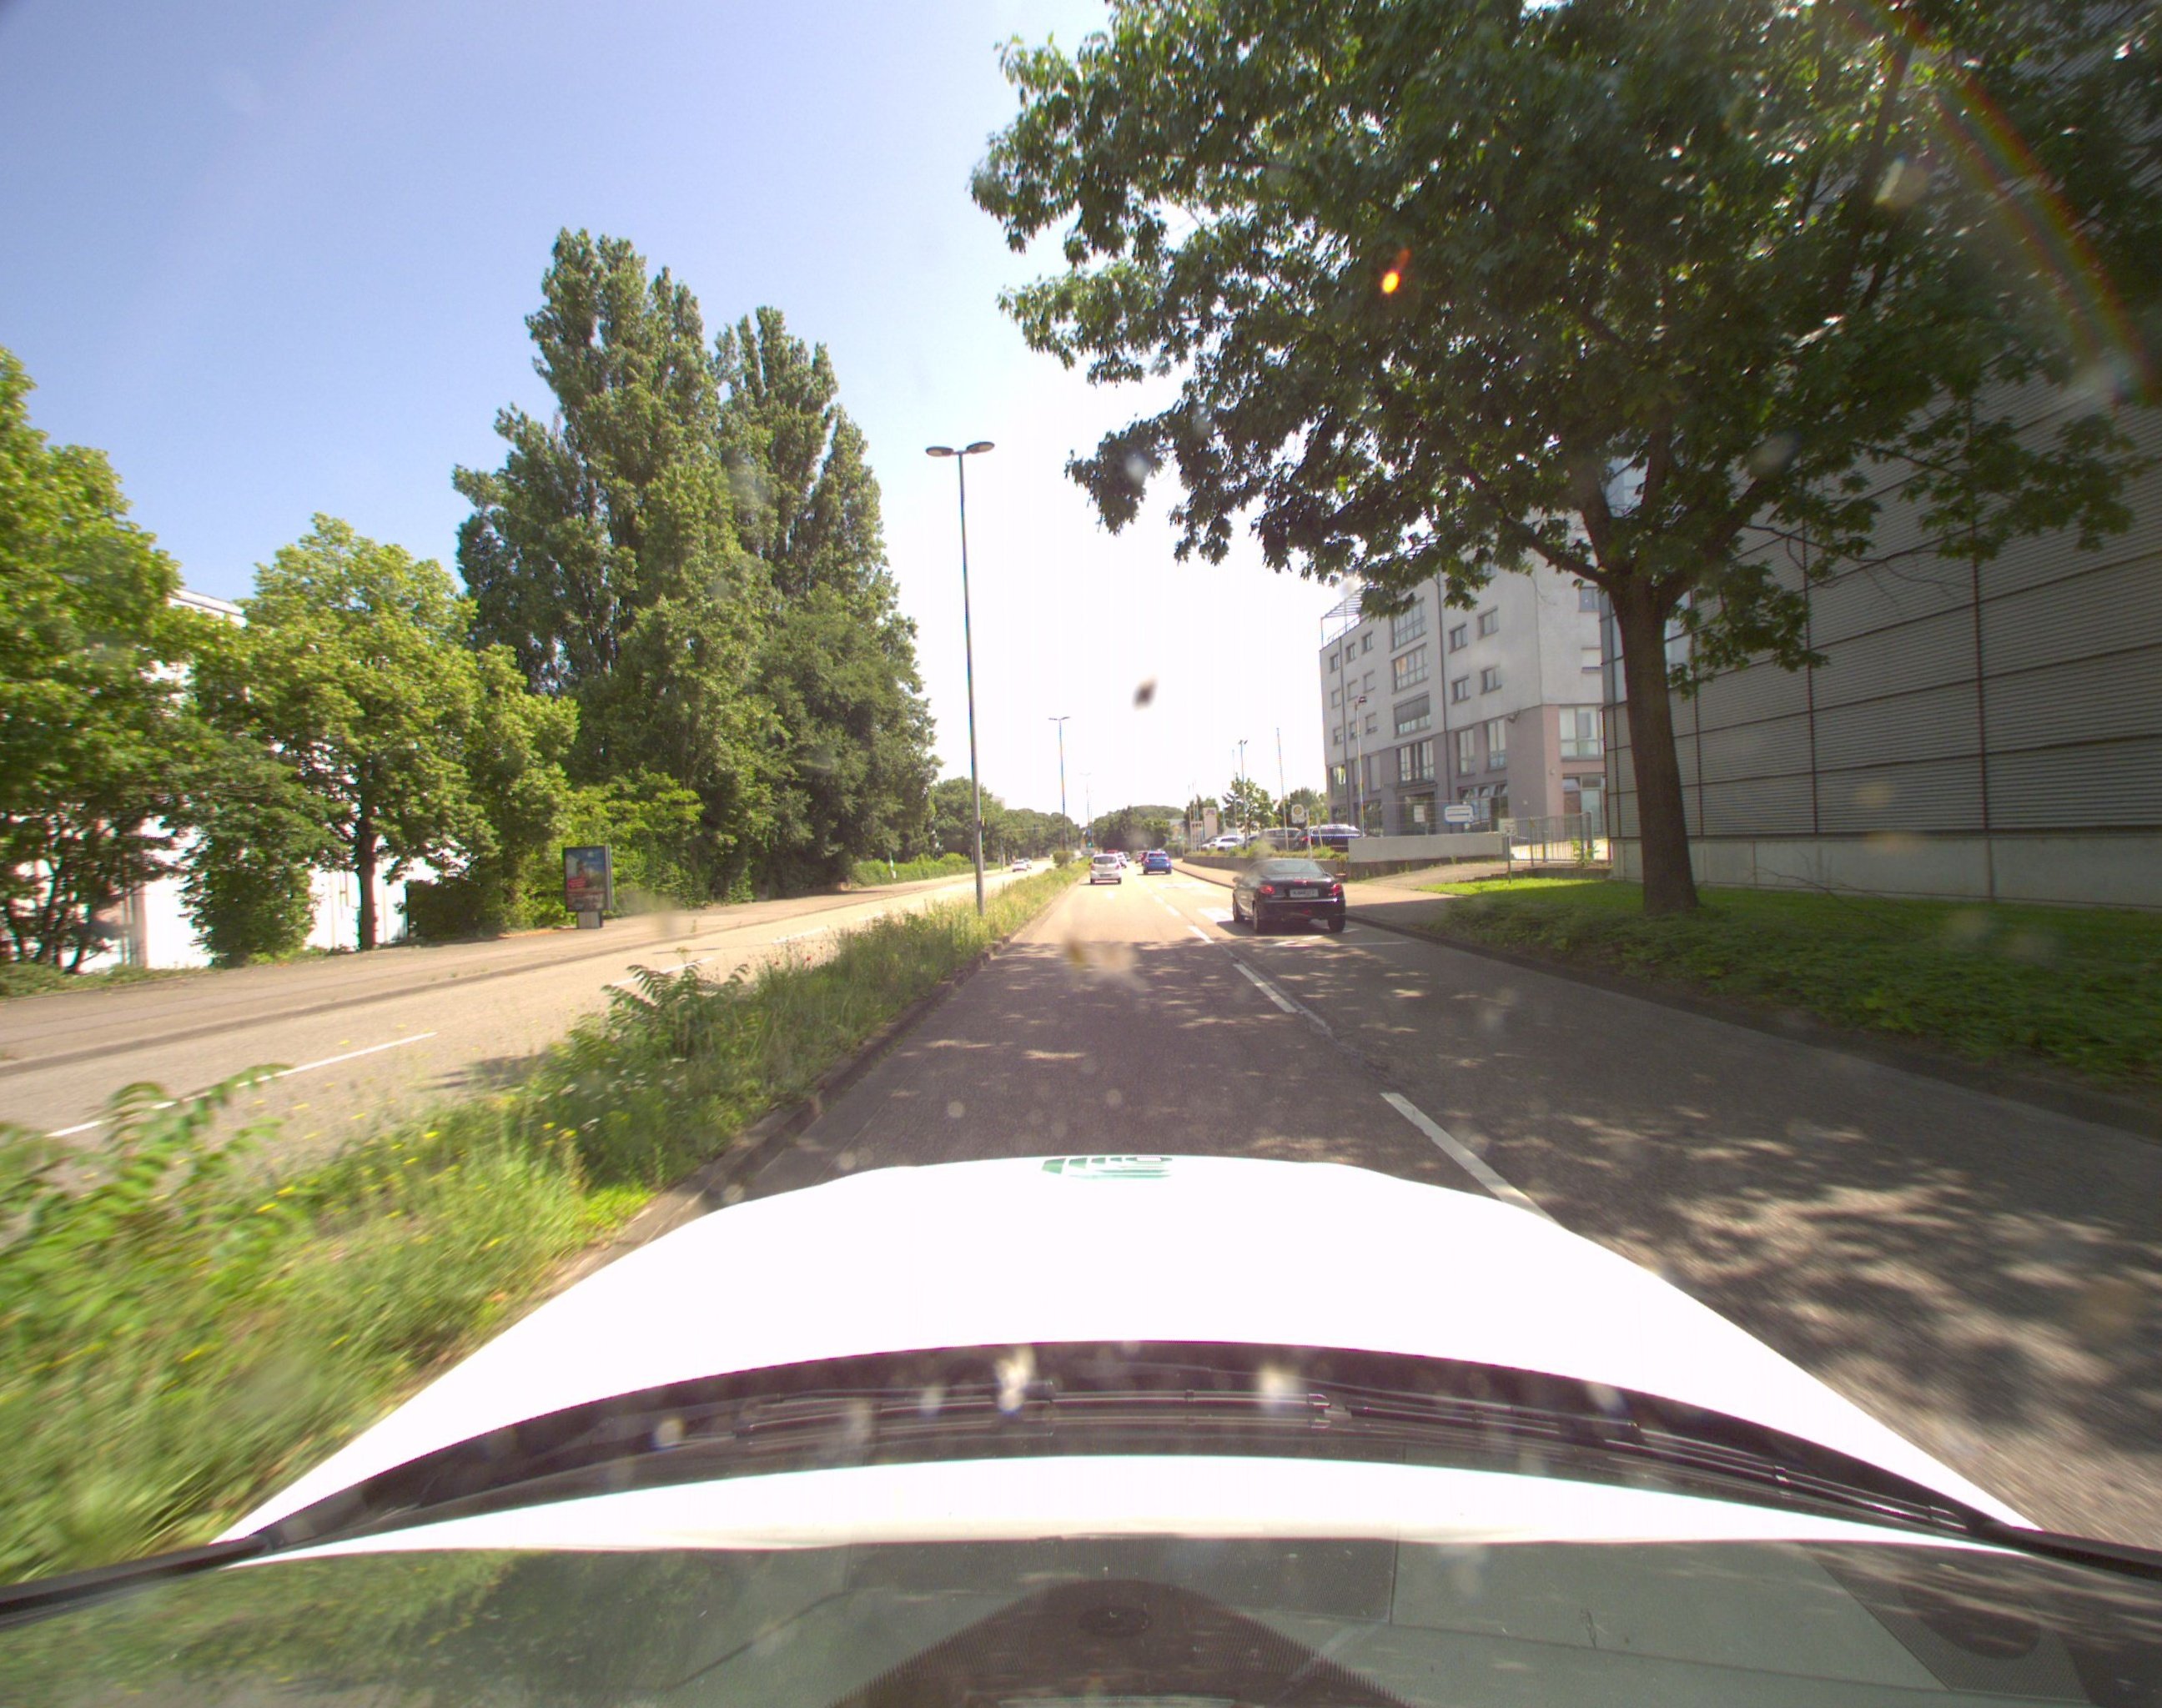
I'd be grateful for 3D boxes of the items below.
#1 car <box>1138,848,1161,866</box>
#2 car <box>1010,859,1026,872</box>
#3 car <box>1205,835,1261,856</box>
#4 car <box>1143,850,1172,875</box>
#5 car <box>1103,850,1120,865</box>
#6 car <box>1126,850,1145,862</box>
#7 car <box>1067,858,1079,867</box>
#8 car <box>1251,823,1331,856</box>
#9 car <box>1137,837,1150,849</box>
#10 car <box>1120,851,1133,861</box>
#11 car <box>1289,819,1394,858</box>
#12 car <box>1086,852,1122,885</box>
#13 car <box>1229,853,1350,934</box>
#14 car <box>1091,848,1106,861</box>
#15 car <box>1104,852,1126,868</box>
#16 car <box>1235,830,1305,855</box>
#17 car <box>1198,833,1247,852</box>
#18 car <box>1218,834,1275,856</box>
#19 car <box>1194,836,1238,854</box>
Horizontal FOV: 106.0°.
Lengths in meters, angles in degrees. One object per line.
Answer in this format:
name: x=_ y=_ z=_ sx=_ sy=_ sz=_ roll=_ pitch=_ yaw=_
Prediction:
car: x=6.924 y=0.272 z=82.485 sx=1.986 sy=1.640 sz=4.001 roll=-3 pitch=0 yaw=1
car: x=-7.960 y=1.449 z=103.442 sx=1.731 sy=1.413 sz=4.369 roll=-3 pitch=0 yaw=-1
car: x=13.119 y=-0.723 z=70.475 sx=4.519 sy=1.544 sz=2.000 roll=-4 pitch=0 yaw=1
car: x=5.250 y=0.577 z=56.274 sx=1.820 sy=1.580 sz=3.608 roll=-3 pitch=1 yaw=3
car: x=3.702 y=0.403 z=99.181 sx=1.771 sy=1.740 sz=3.997 roll=-3 pitch=0 yaw=-2
car: x=6.580 y=0.234 z=98.762 sx=1.986 sy=1.420 sz=4.001 roll=-3 pitch=0 yaw=1
car: x=-1.182 y=1.268 z=121.679 sx=1.570 sy=1.269 sz=3.725 roll=-3 pitch=0 yaw=-3
car: x=12.516 y=-0.837 z=48.721 sx=4.212 sy=1.647 sz=2.000 roll=-4 pitch=0 yaw=0
car: x=11.516 y=-2.047 z=150.335 sx=1.765 sy=2.013 sz=3.988 roll=-3 pitch=1 yaw=-2
car: x=7.642 y=0.369 z=138.244 sx=1.986 sy=1.508 sz=4.001 roll=-3 pitch=0 yaw=1
car: x=12.714 y=-0.736 z=39.978 sx=4.484 sy=1.583 sz=2.000 roll=-4 pitch=0 yaw=0
car: x=1.242 y=0.723 z=42.584 sx=1.741 sy=1.520 sz=3.749 roll=-2 pitch=1 yaw=3
car: x=4.043 y=0.712 z=16.313 sx=1.621 sy=1.364 sz=3.608 roll=-1 pitch=1 yaw=2
car: x=2.385 y=0.069 z=111.305 sx=1.815 sy=1.661 sz=3.997 roll=-3 pitch=1 yaw=-3
car: x=3.252 y=0.551 z=78.139 sx=1.986 sy=1.442 sz=4.001 roll=-3 pitch=0 yaw=1
car: x=12.840 y=-0.783 z=55.546 sx=4.306 sy=1.369 sz=2.000 roll=-4 pitch=0 yaw=0
car: x=13.707 y=-1.078 z=79.159 sx=4.333 sy=1.544 sz=1.999 roll=-4 pitch=0 yaw=-1
car: x=12.761 y=-0.717 z=62.688 sx=3.935 sy=1.452 sz=1.753 roll=-3 pitch=0 yaw=-20
car: x=13.531 y=-0.851 z=81.750 sx=3.975 sy=1.544 sz=1.999 roll=-4 pitch=0 yaw=-1
